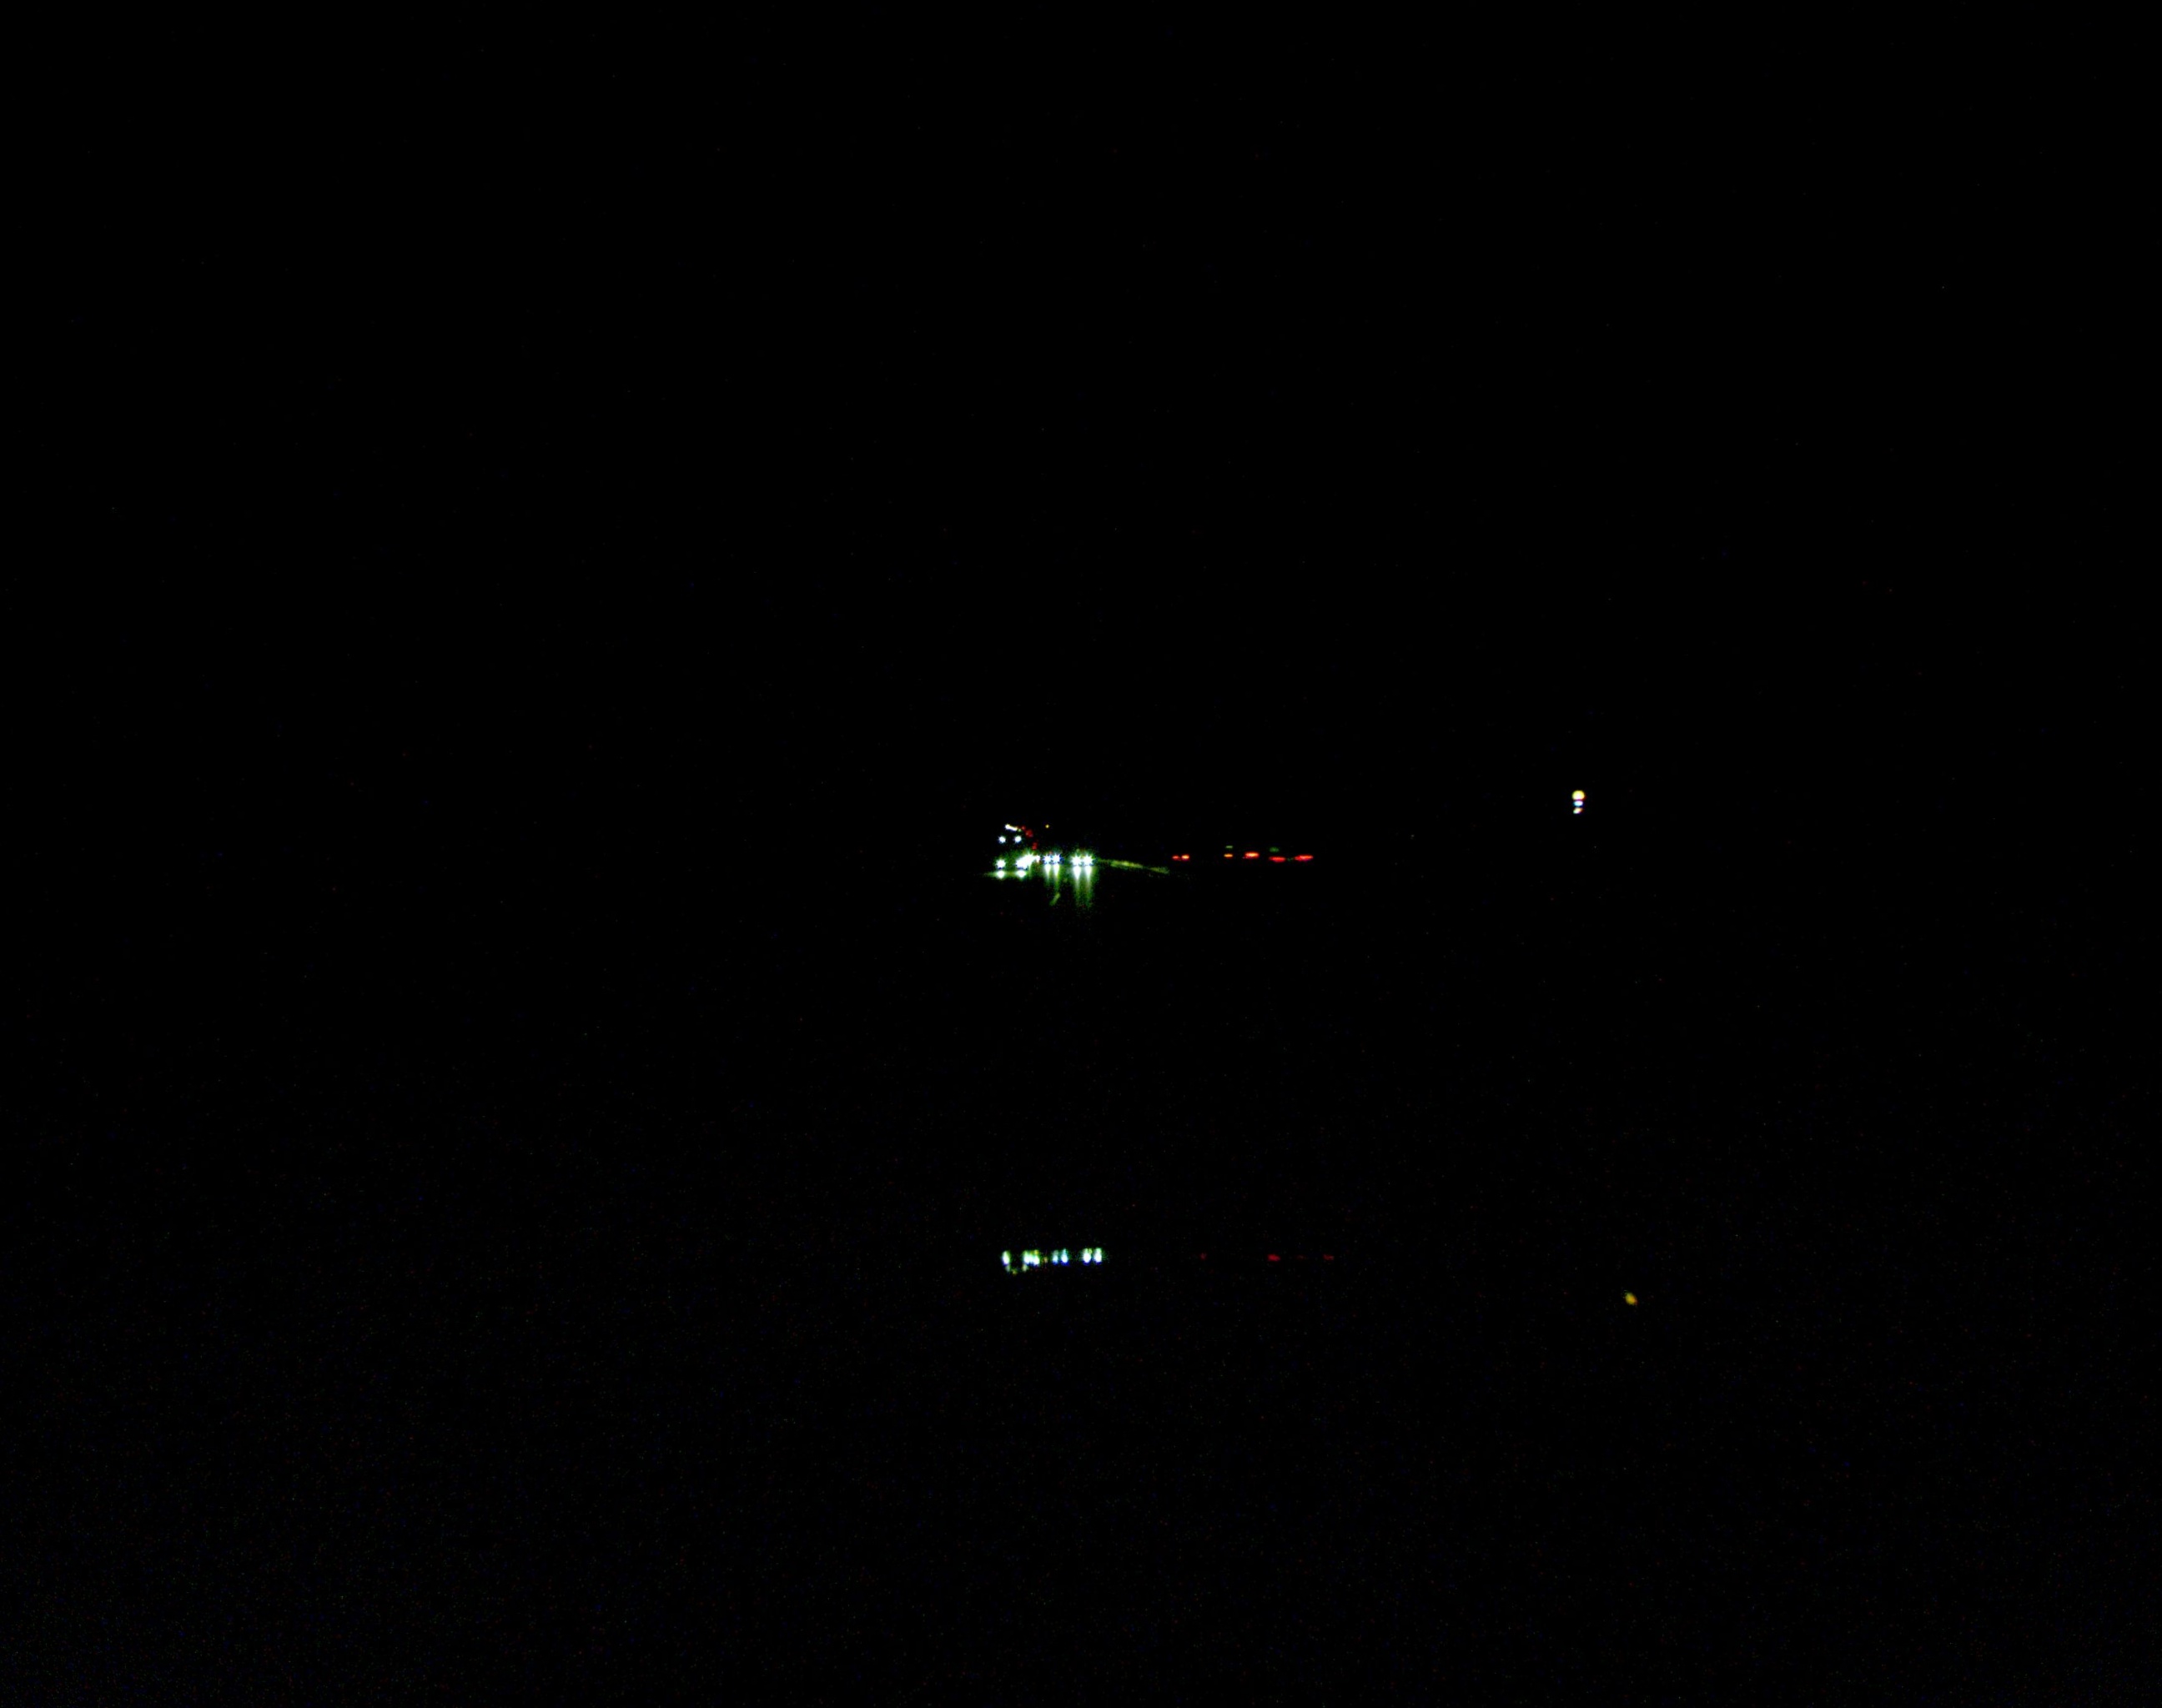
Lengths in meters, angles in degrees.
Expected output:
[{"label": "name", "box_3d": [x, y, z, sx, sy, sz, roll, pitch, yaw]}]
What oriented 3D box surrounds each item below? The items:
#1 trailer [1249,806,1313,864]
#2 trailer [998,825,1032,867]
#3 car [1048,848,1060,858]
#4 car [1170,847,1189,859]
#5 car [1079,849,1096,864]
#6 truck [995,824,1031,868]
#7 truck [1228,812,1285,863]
[{"label": "trailer", "box_3d": [16.688, -1.529, 63.993, 3.058, 4.413, 8.600, -2, 1, 0]}, {"label": "trailer", "box_3d": [-7.630, -0.949, 89.272, 3.347, 4.408, 13.570, -2, 1, -3]}, {"label": "car", "box_3d": [-4.557, -0.168, 129.203, 1.939, 1.608, 3.999, -2, 1, 0]}, {"label": "car", "box_3d": [12.341, -0.103, 95.328, 1.773, 1.376, 4.390, -2, 1, -1]}, {"label": "car", "box_3d": [0.823, 0.309, 92.729, 2.012, 1.652, 3.999, -2, 1, 1]}, {"label": "truck", "box_3d": [-7.237, -0.853, 81.545, 3.347, 4.408, 6.990, -2, 1, -3]}, {"label": "truck", "box_3d": [16.748, -1.527, 73.542, 3.058, 4.413, 10.422, -2, 1, 0]}]
